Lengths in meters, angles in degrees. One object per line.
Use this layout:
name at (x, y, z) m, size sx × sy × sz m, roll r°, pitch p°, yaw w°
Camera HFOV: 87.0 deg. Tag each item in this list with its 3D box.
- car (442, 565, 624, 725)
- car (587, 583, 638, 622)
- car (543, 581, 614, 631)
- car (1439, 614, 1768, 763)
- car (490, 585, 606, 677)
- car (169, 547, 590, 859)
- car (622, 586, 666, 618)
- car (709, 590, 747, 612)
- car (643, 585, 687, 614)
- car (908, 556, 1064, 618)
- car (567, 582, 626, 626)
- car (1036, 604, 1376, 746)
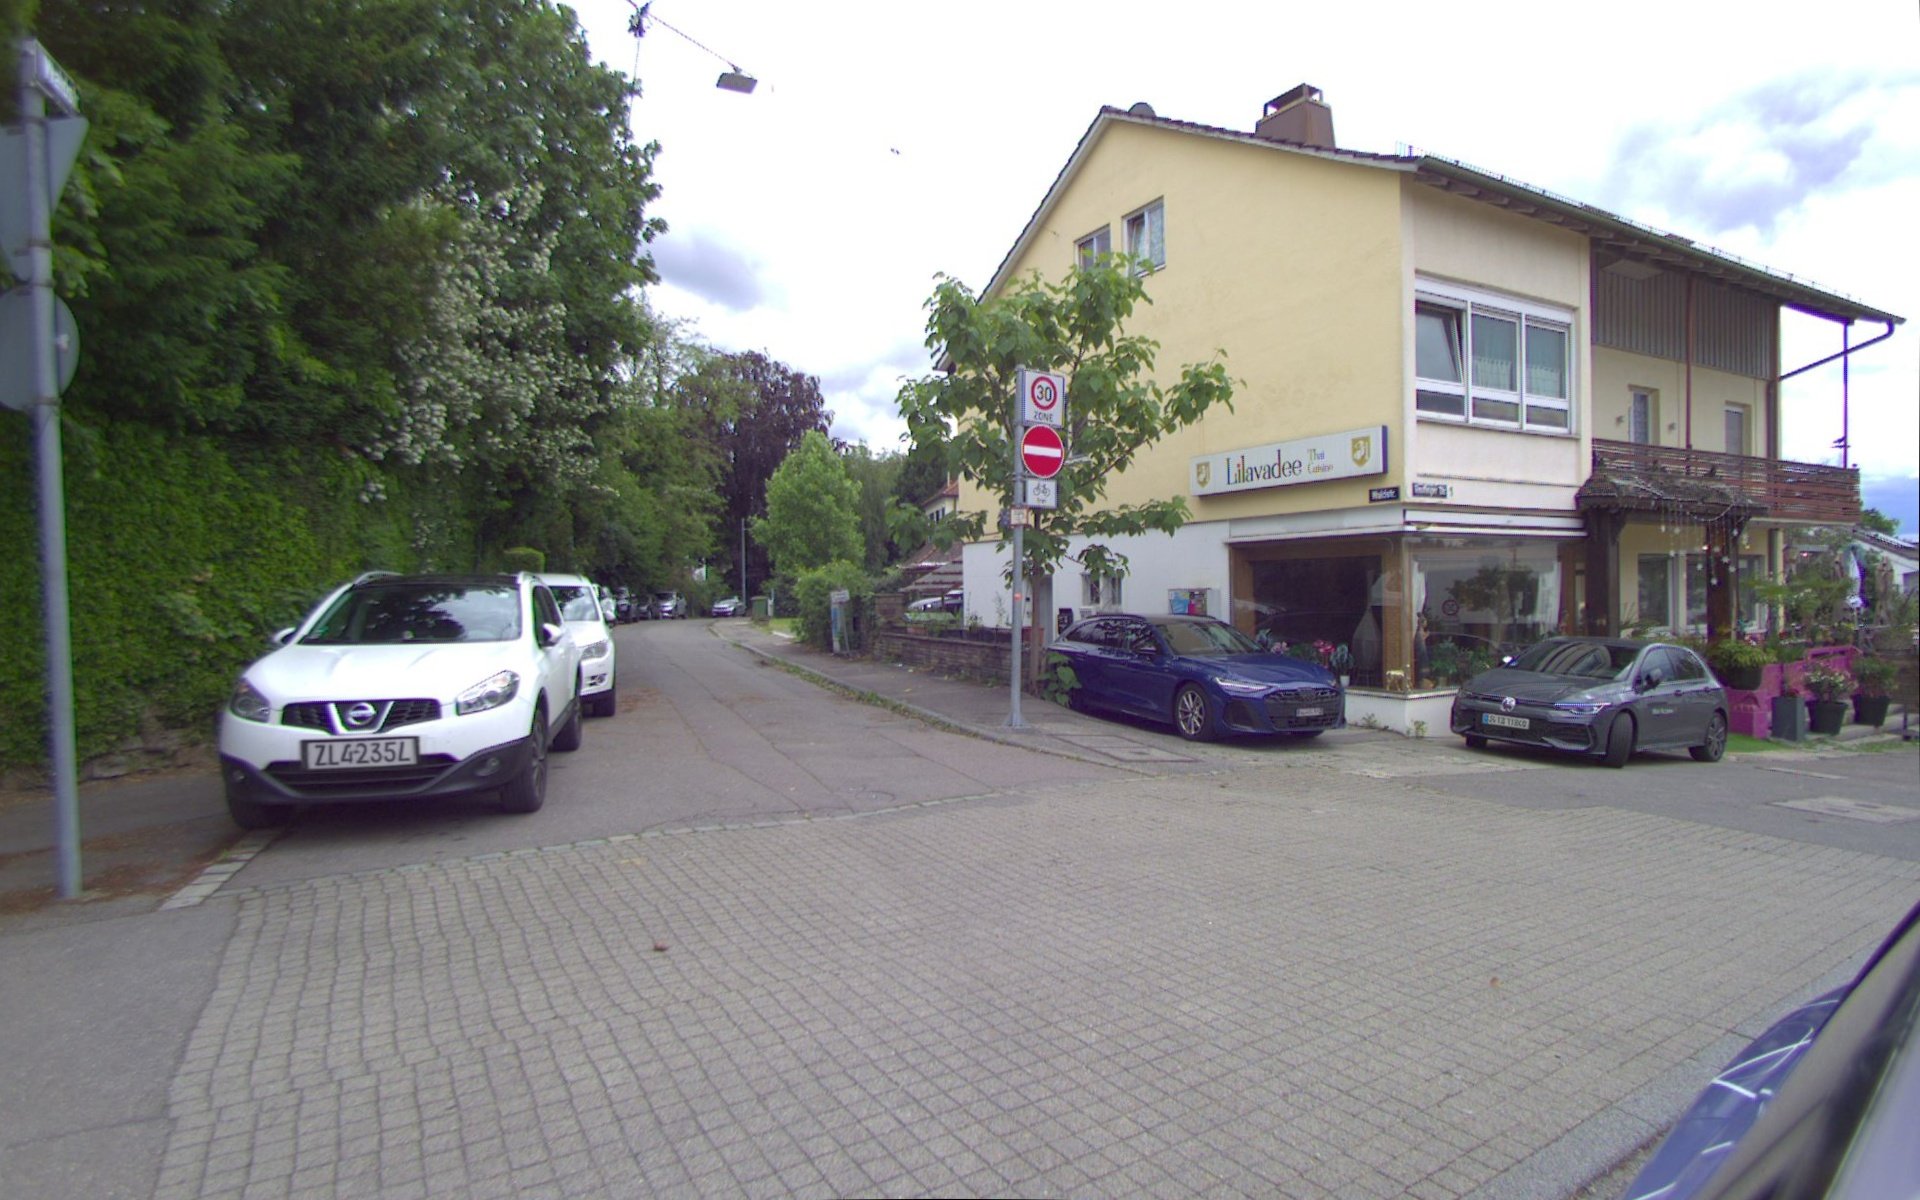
car at (-5.182, 0.438, 12.609) m, size 1.761 × 1.643 × 4.080 m, roll -1°, pitch 1°, yaw -20°
car at (-14.214, 0.050, 41.525) m, size 1.542 × 1.502 × 3.481 m, roll -1°, pitch 1°, yaw -11°
car at (-12.224, 0.143, 32.591) m, size 1.542 × 1.502 × 3.745 m, roll -1°, pitch 1°, yaw -11°
car at (7.938, 1.070, 12.372) m, size 4.242 × 1.480 × 1.800 m, roll 5°, pitch -2°, yaw -34°
car at (-7.433, 0.465, 18.509) m, size 1.761 × 1.441 × 4.080 m, roll -1°, pitch 1°, yaw -20°
car at (-3.872, 0.511, 7.555) m, size 1.761 × 1.643 × 4.144 m, roll -1°, pitch 1°, yaw -16°
car at (-15.924, 0.080, 51.111) m, size 1.542 × 1.502 × 3.479 m, roll -1°, pitch 1°, yaw -8°
car at (-16.356, 0.036, 71.456) m, size 1.547 × 1.502 × 3.468 m, roll 0°, pitch 1°, yaw 7°
car at (-16.248, -0.035, 55.794) m, size 1.543 × 1.502 × 3.476 m, roll 0°, pitch 1°, yaw -3°
car at (0.769, -0.363, 30.296) m, size 4.235 × 1.480 × 1.802 m, roll 4°, pitch -2°, yaw -19°
car at (-13.430, 0.109, 37.545) m, size 1.542 × 1.502 × 3.481 m, roll -1°, pitch 1°, yaw -11°
car at (2.909, 0.832, 13.211) m, size 1.761 × 1.405 × 4.758 m, roll 2°, pitch 0°, yaw -23°
